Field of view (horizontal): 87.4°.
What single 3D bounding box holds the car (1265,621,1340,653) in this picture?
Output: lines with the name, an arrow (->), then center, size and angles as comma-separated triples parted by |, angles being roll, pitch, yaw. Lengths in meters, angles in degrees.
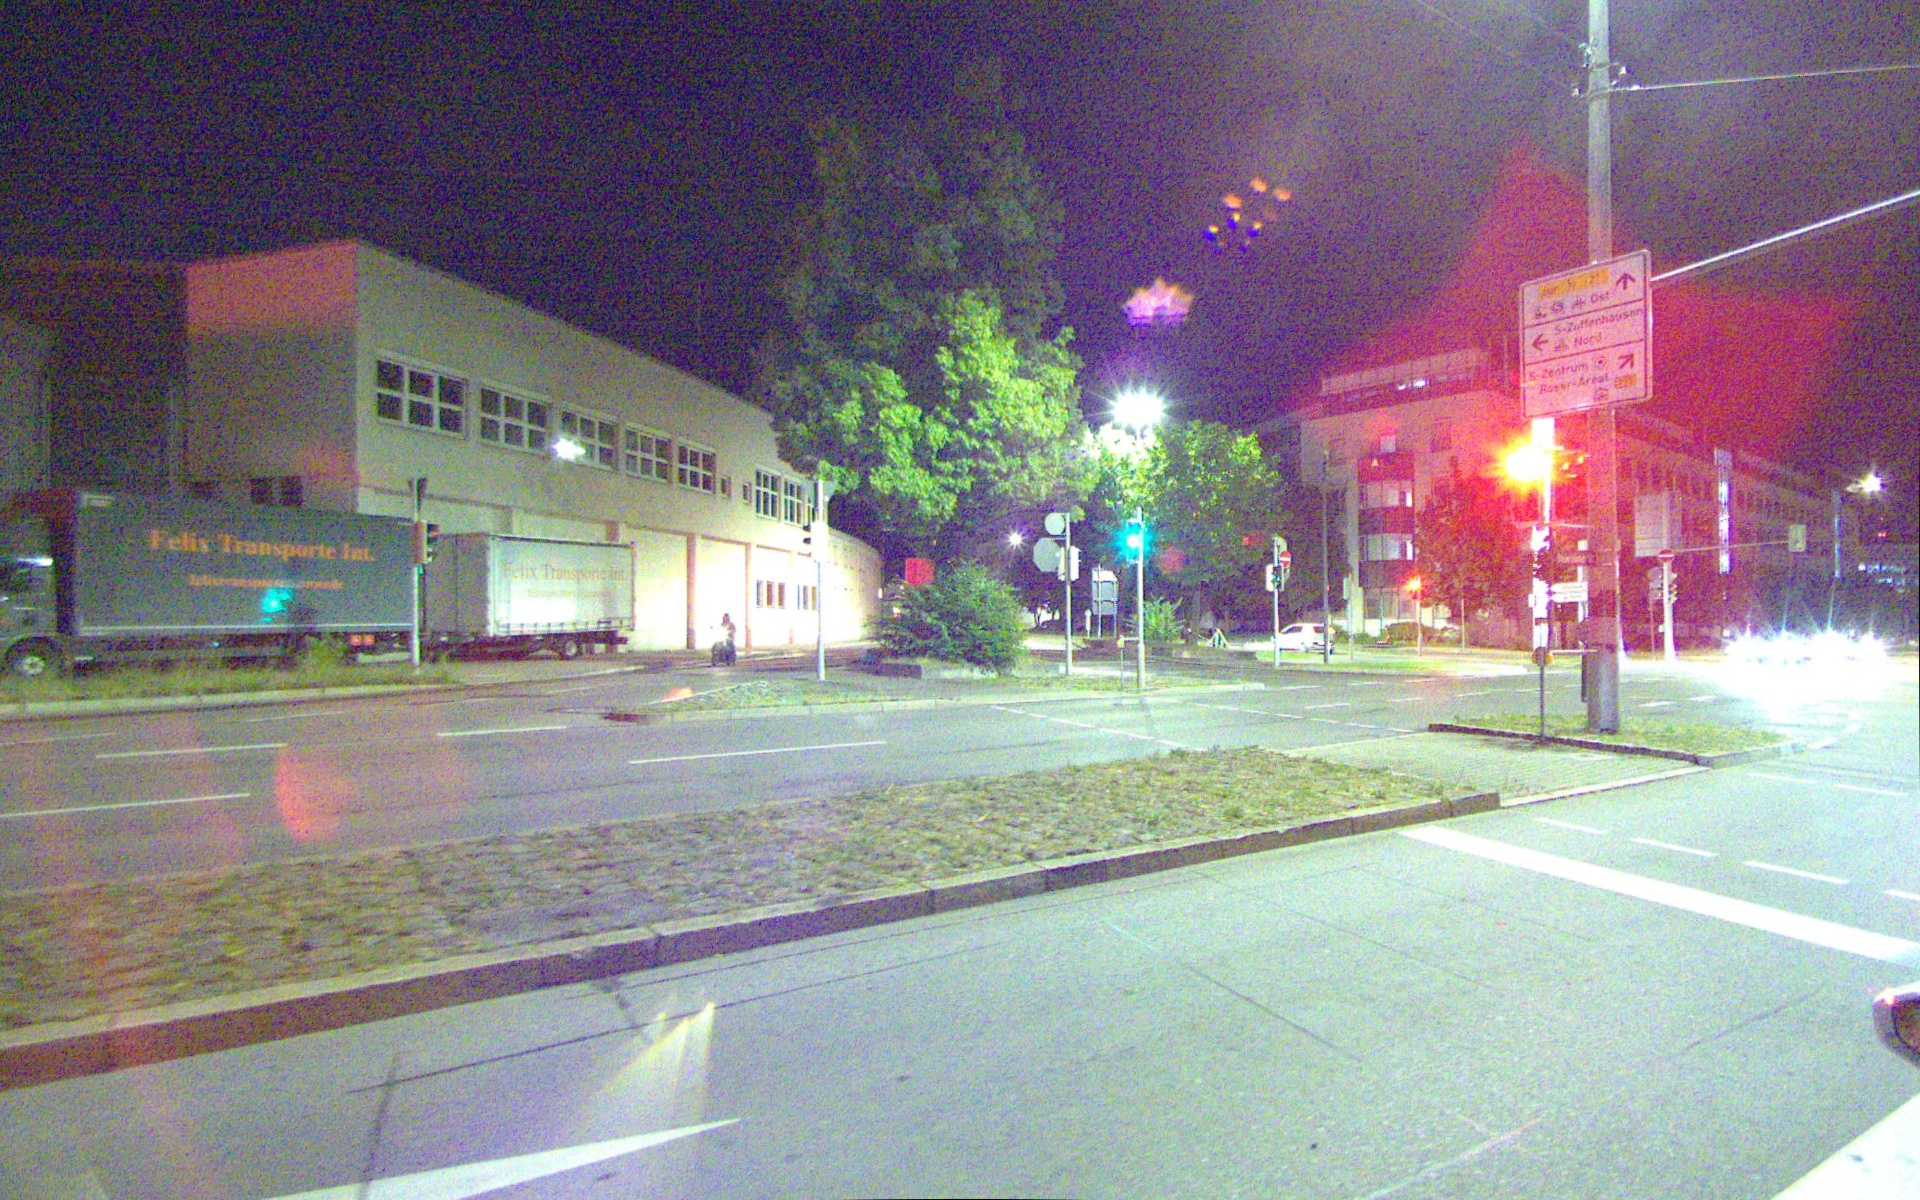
car -> 17.335, 1.846, 50.981 | 1.680, 1.511, 3.988 | 2, -1, -15

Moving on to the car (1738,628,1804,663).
car -> 37.606, 2.094, 46.547 | 3.966, 1.535, 1.603 | 2, -2, -39

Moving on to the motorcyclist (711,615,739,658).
motorcyclist -> -7.120, 1.097, 30.454 | 0.635, 1.278, 0.579 | 1, -1, 9

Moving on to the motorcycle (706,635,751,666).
motorcycle -> -7.008, 1.524, 30.508 | 0.568, 0.907, 2.157 | -1, -2, 9

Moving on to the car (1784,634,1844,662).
car -> 43.459, 2.445, 51.109 | 3.518, 1.339, 1.744 | 2, -2, -39

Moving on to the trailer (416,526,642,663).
trailer -> -13.269, -0.067, 31.576 | 2.571, 3.841, 6.512 | 1, -1, 23

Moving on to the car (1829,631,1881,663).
car -> 51.611, 2.685, 57.916 | 3.518, 1.750, 1.744 | 2, -2, -39

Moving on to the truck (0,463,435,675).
truck -> -17.080, -0.443, 22.520 | 2.892, 3.846, 9.551 | 1, -2, 25
